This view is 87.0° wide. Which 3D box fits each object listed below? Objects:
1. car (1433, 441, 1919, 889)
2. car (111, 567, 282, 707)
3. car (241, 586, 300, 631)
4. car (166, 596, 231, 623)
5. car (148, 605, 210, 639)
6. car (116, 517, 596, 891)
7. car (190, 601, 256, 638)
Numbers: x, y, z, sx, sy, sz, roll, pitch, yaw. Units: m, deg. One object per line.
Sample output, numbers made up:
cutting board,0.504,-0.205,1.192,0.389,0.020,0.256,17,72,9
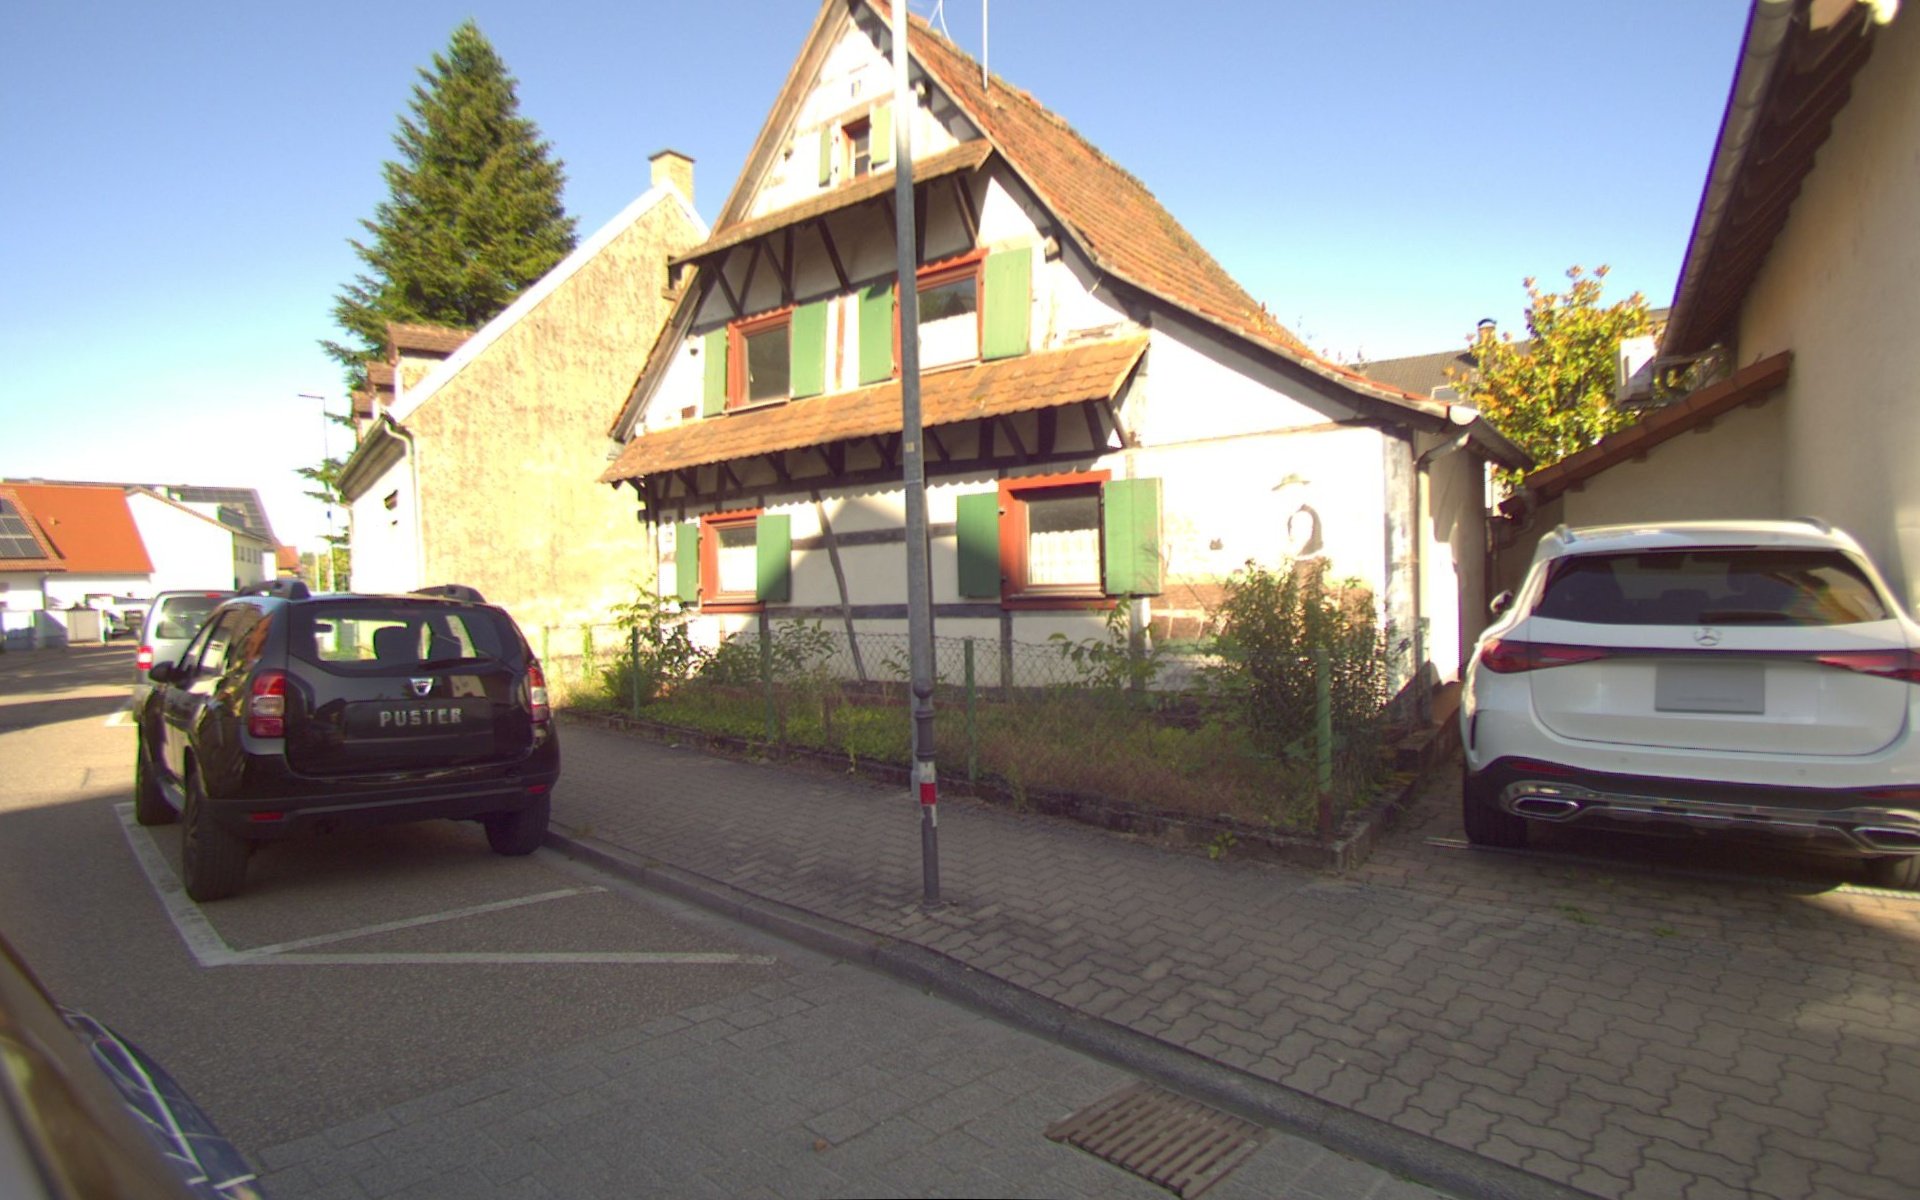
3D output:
car,3.966,0.134,5.595,1.993,1.600,3.958,-2,2,31
car,-11.555,0.531,15.344,1.808,1.803,4.361,1,-2,-38
car,-36.640,0.438,53.873,2.026,2.263,4.875,-1,0,-28
car,-59.797,0.750,79.501,3.933,2.029,1.846,-2,0,-34
car,-40.084,1.087,52.023,1.778,1.488,4.357,-5,3,-29
car,-4.259,0.484,6.773,1.811,1.683,4.356,1,-1,-44
car,-34.141,0.895,46.982,1.862,1.602,4.013,-1,0,-28
